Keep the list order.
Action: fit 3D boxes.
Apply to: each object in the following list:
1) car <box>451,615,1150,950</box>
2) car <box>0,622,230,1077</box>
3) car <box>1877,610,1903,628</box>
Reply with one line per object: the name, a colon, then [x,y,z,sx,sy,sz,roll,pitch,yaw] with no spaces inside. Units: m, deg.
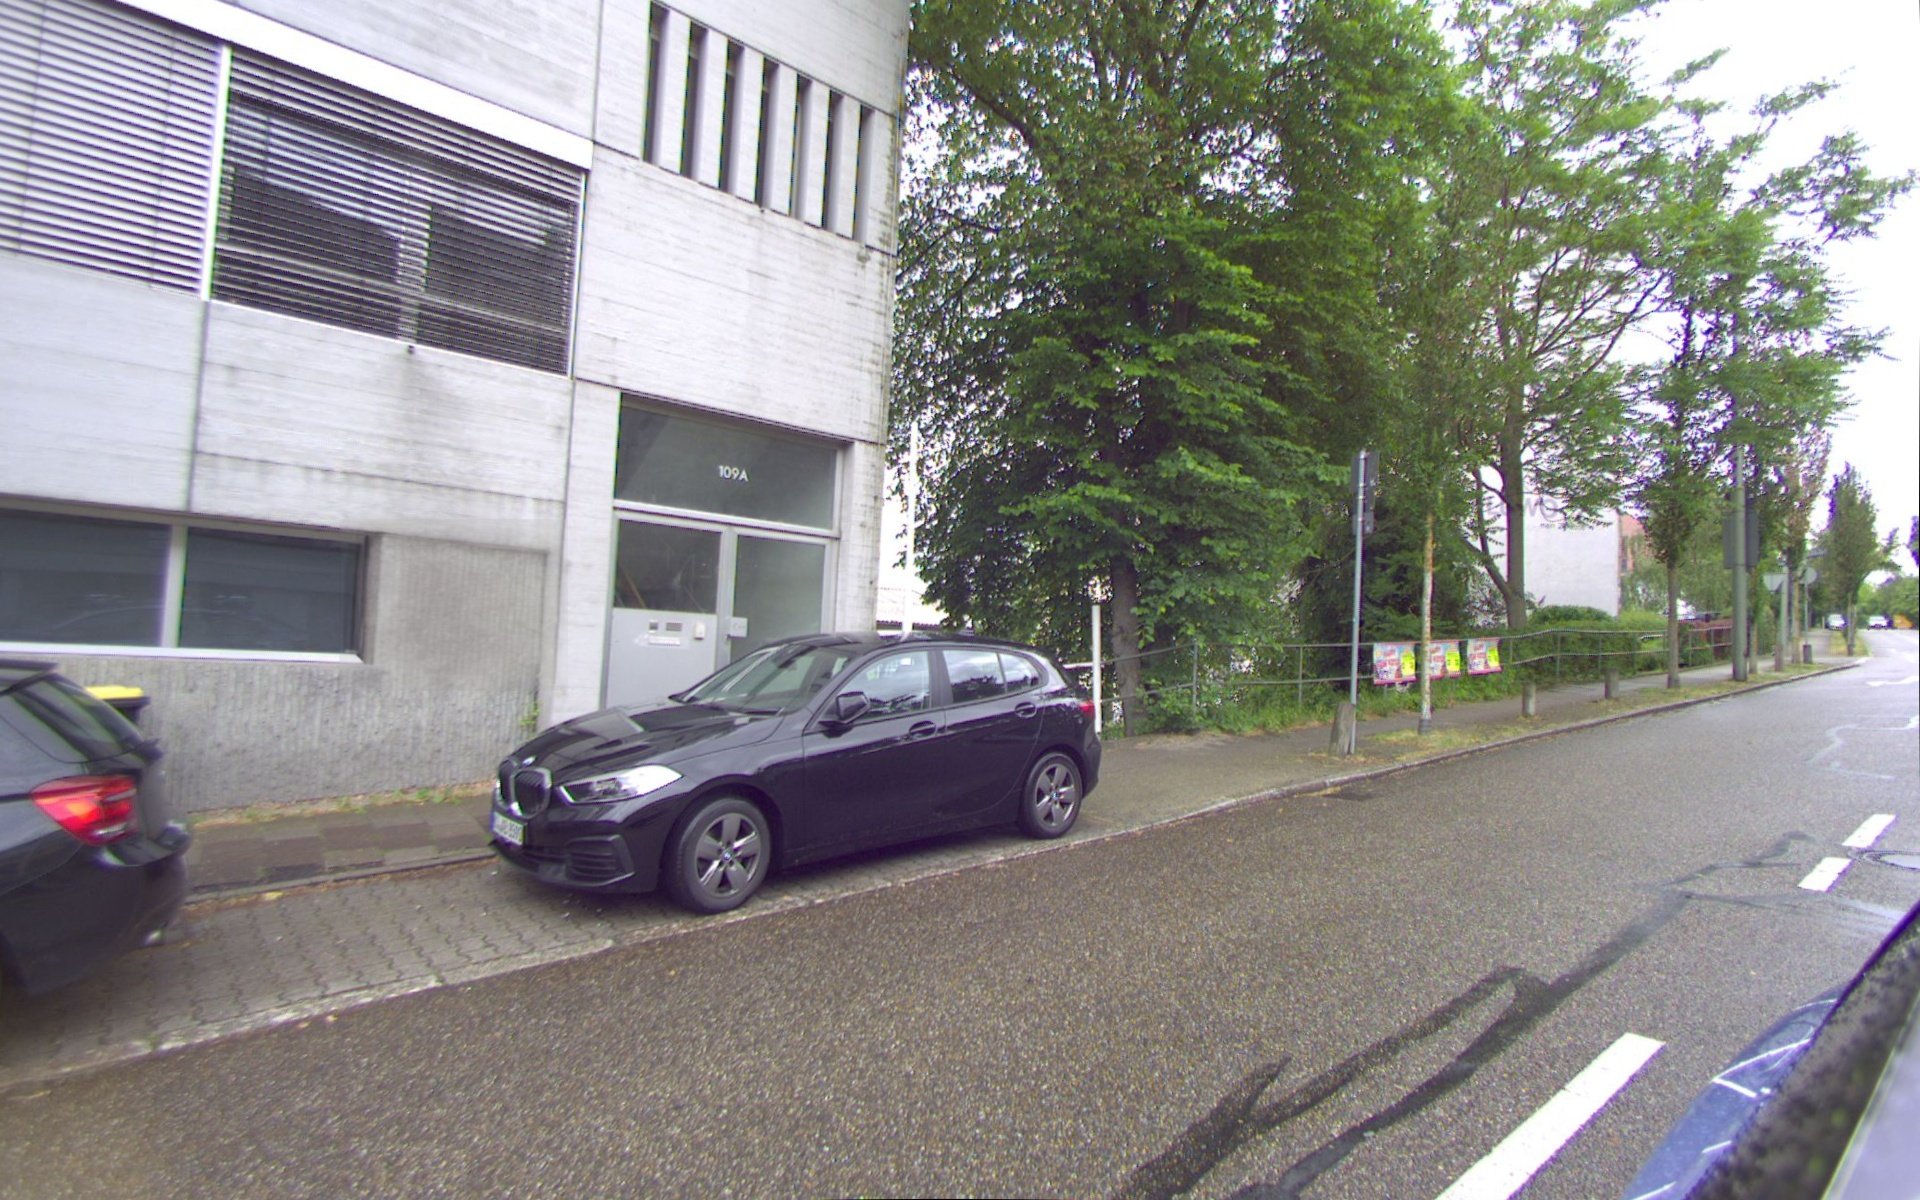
car: [-0.837,0.884,6.935,4.367,1.453,1.996,0,1,-43]
car: [-4.901,0.853,3.175,4.173,1.466,1.753,0,0,-38]
car: [103.186,2.107,112.298,1.884,1.741,4.177,2,2,39]
